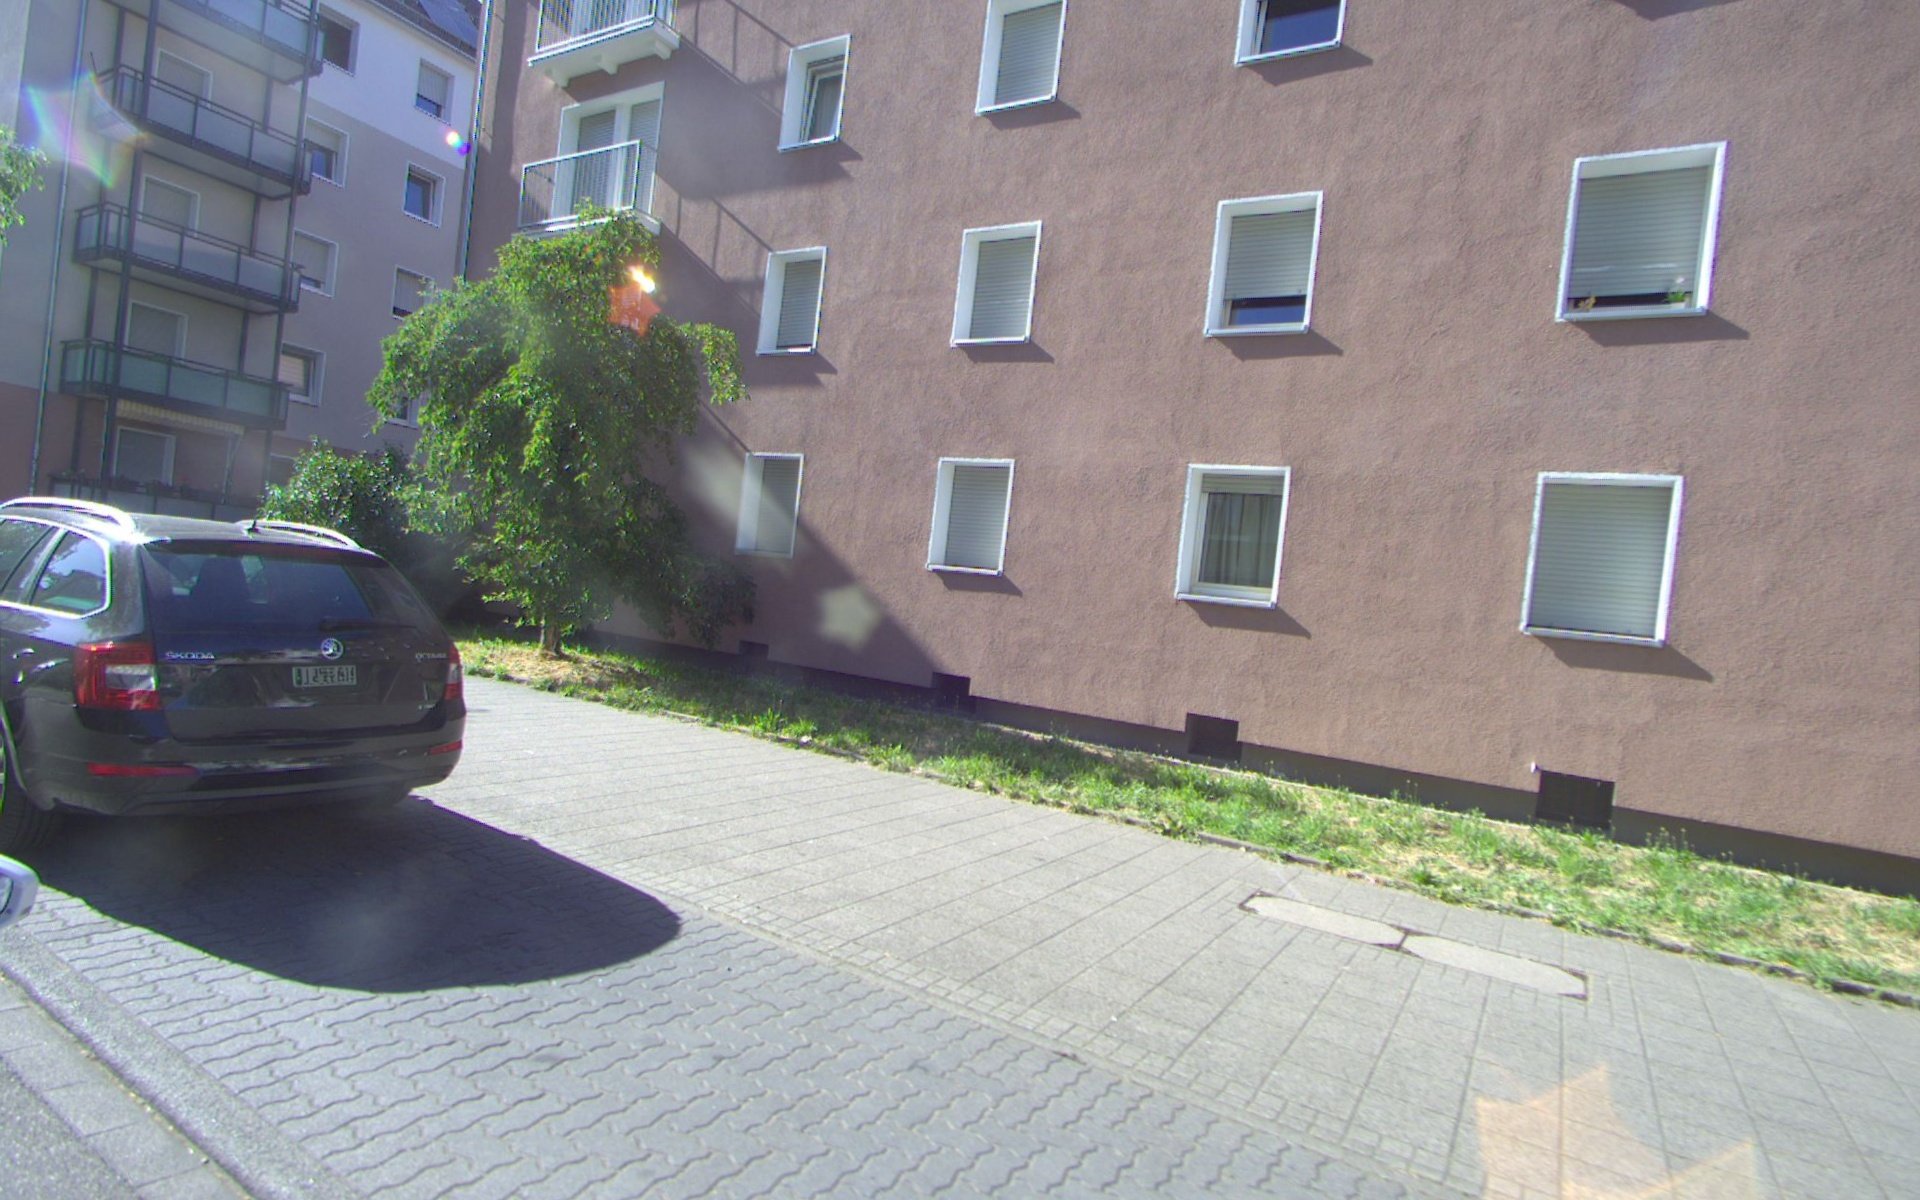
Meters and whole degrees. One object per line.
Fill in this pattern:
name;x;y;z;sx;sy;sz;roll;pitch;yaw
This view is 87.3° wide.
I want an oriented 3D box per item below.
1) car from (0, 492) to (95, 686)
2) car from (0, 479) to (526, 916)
car;-9.374;-0.292;8.728;3.795;1.538;1.742;7;0;33
car;-4.505;0.213;5.476;4.238;1.539;1.784;7;1;33
